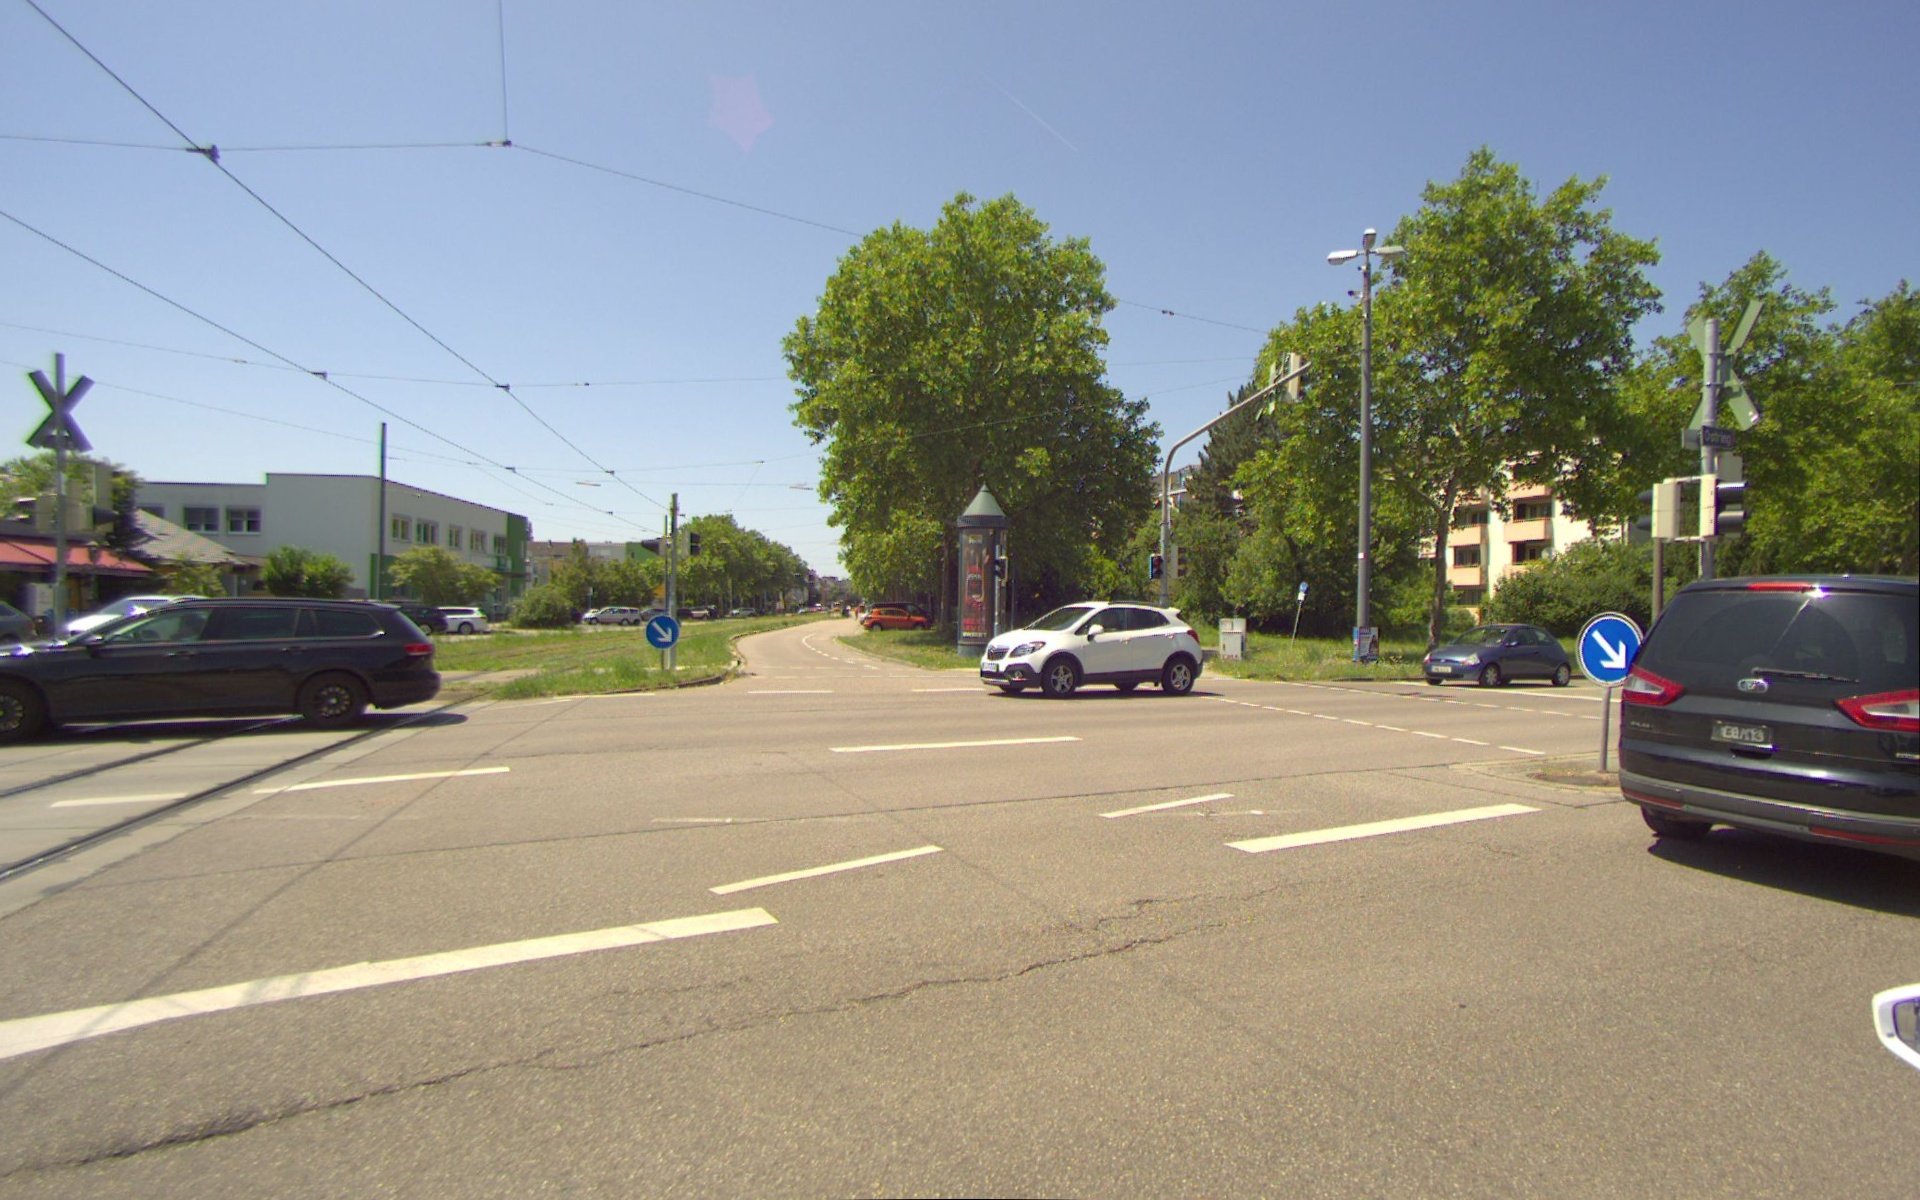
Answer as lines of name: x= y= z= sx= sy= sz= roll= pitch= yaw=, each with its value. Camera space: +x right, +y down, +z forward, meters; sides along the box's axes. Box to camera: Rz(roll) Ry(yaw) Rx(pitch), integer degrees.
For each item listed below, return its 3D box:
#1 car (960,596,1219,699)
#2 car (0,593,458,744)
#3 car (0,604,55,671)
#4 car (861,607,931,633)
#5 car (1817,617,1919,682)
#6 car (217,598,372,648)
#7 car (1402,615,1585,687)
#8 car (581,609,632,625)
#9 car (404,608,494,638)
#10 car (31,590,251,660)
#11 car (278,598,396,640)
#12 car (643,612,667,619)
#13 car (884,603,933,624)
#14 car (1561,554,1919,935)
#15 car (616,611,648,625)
car: x=2.331 y=0.783 z=17.890 sx=4.347 sy=1.636 sz=1.781 roll=1 pitch=0 yaw=-27
car: x=-8.376 y=0.684 z=11.363 sx=4.692 sy=1.459 sz=1.939 roll=1 pitch=0 yaw=-32
car: x=-20.875 y=0.760 z=19.920 sx=1.852 sy=1.399 sz=4.668 roll=1 pitch=-1 yaw=-4
car: x=-3.861 y=1.184 z=60.509 sx=4.062 sy=1.415 sz=1.456 roll=2 pitch=1 yaw=-10
car: x=22.345 y=1.161 z=23.747 sx=4.125 sy=1.413 sz=1.730 roll=1 pitch=-2 yaw=-27
car: x=-23.618 y=0.787 z=35.806 sx=4.522 sy=1.673 sz=1.767 roll=1 pitch=0 yaw=-34
car: x=12.112 y=1.098 z=22.811 sx=3.815 sy=1.475 sz=1.715 roll=0 pitch=1 yaw=-24
car: x=-29.474 y=1.417 z=83.712 sx=3.847 sy=1.221 sz=1.351 roll=1 pitch=0 yaw=-30
car: x=-26.213 y=1.171 z=51.527 sx=4.013 sy=1.442 sz=1.931 roll=1 pitch=0 yaw=-30
car: x=-21.012 y=0.603 z=26.078 sx=2.173 sy=1.626 sz=4.460 roll=1 pitch=0 yaw=-2
car: x=-26.182 y=0.790 z=42.300 sx=4.149 sy=1.673 sz=1.768 roll=1 pitch=0 yaw=-34
car: x=-30.500 y=1.569 z=100.440 sx=2.263 sy=0.652 sz=0.769 roll=1 pitch=0 yaw=-30
car: x=-4.103 y=1.081 z=79.695 sx=3.701 sy=1.630 sz=1.621 roll=1 pitch=0 yaw=-13
car: x=6.175 y=0.690 z=6.439 sx=4.589 sy=1.779 sz=1.847 roll=1 pitch=1 yaw=-28
car: x=-28.254 y=1.548 z=86.494 sx=2.432 sy=1.221 sz=1.109 roll=1 pitch=1 yaw=-37
